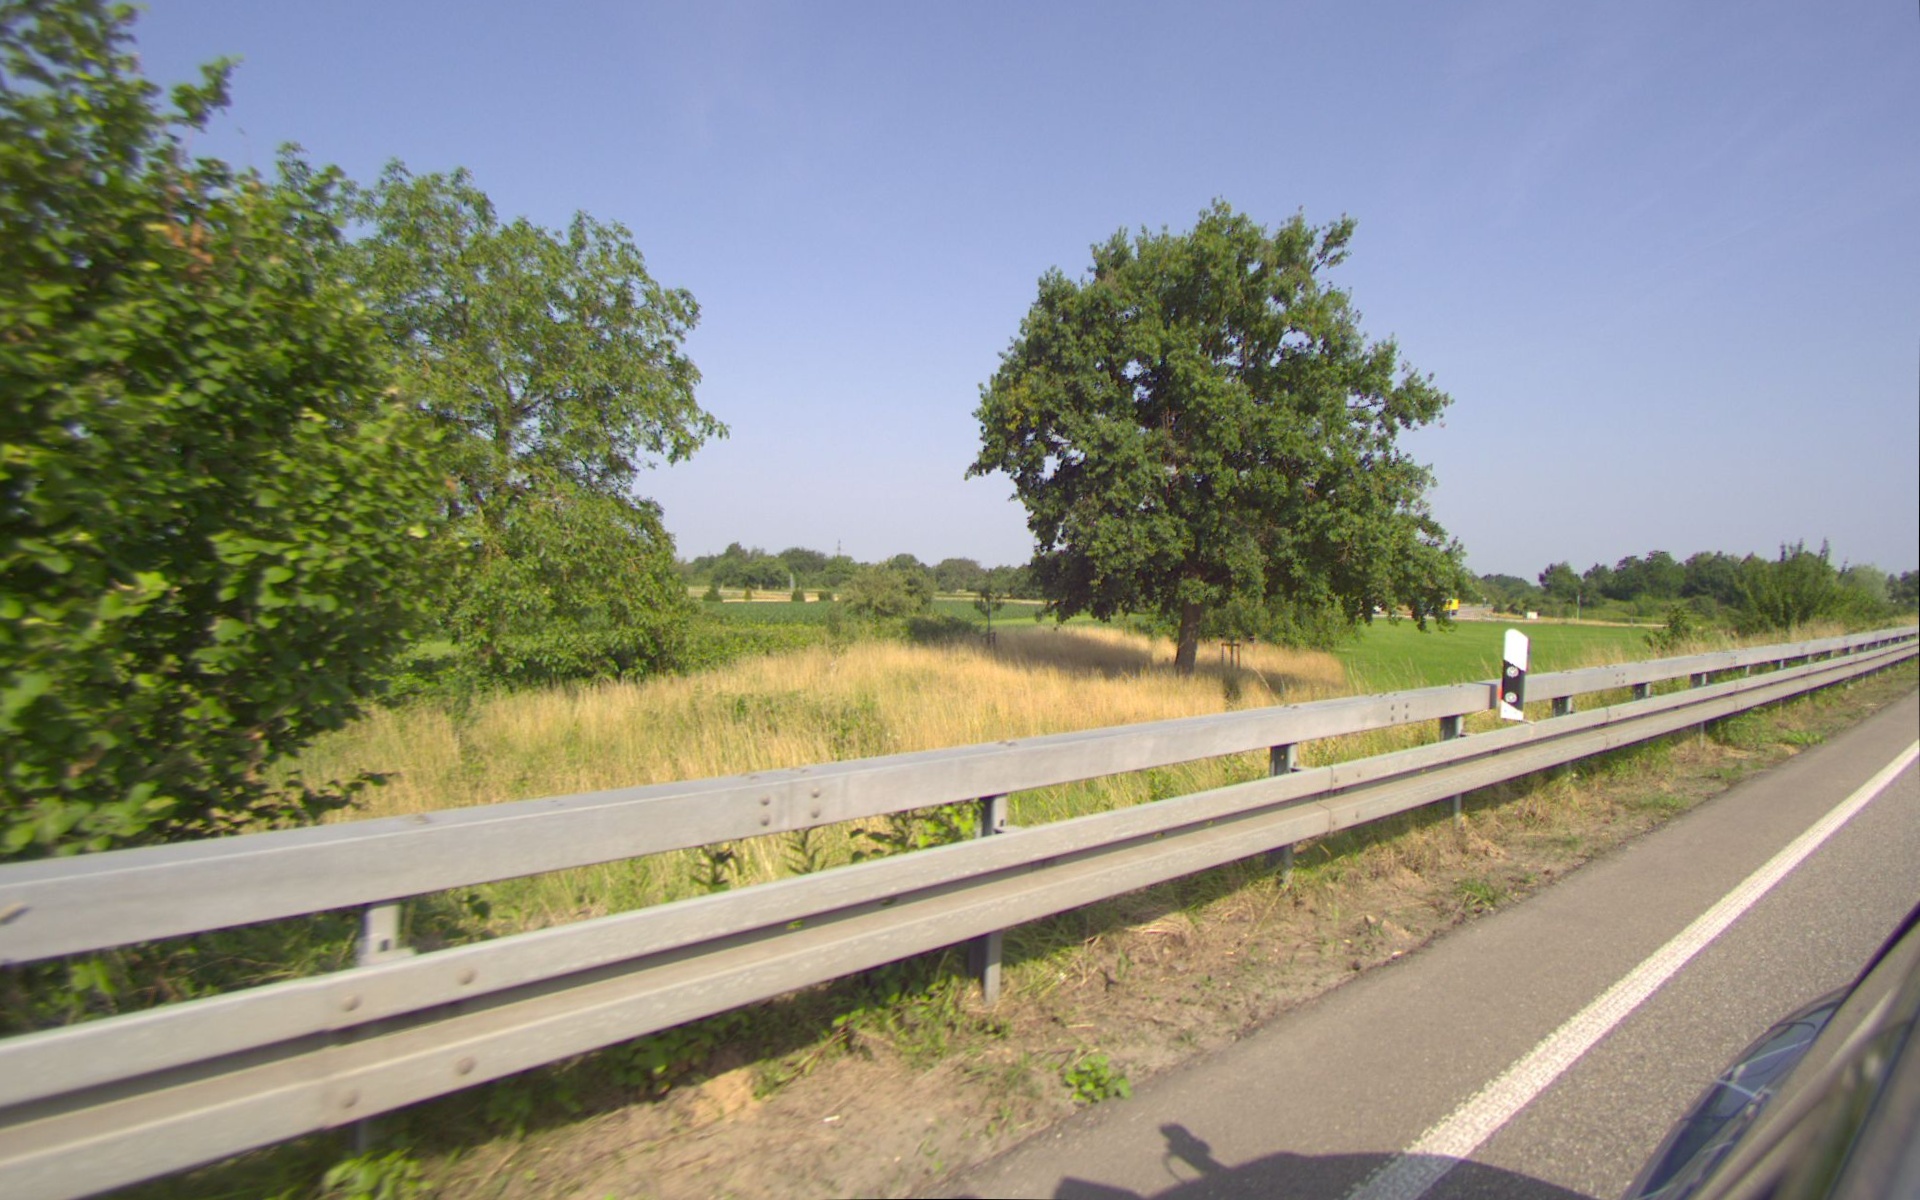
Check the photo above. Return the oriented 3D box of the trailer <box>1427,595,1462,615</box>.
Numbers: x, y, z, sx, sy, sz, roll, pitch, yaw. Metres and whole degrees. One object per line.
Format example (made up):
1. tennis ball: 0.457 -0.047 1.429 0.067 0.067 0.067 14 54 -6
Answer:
1. trailer: 109.302 1.122 228.218 14.184 4.222 2.257 1 1 -44

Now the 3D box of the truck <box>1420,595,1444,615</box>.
1. truck: 104.529 1.068 224.278 4.279 4.222 2.267 1 0 -17
